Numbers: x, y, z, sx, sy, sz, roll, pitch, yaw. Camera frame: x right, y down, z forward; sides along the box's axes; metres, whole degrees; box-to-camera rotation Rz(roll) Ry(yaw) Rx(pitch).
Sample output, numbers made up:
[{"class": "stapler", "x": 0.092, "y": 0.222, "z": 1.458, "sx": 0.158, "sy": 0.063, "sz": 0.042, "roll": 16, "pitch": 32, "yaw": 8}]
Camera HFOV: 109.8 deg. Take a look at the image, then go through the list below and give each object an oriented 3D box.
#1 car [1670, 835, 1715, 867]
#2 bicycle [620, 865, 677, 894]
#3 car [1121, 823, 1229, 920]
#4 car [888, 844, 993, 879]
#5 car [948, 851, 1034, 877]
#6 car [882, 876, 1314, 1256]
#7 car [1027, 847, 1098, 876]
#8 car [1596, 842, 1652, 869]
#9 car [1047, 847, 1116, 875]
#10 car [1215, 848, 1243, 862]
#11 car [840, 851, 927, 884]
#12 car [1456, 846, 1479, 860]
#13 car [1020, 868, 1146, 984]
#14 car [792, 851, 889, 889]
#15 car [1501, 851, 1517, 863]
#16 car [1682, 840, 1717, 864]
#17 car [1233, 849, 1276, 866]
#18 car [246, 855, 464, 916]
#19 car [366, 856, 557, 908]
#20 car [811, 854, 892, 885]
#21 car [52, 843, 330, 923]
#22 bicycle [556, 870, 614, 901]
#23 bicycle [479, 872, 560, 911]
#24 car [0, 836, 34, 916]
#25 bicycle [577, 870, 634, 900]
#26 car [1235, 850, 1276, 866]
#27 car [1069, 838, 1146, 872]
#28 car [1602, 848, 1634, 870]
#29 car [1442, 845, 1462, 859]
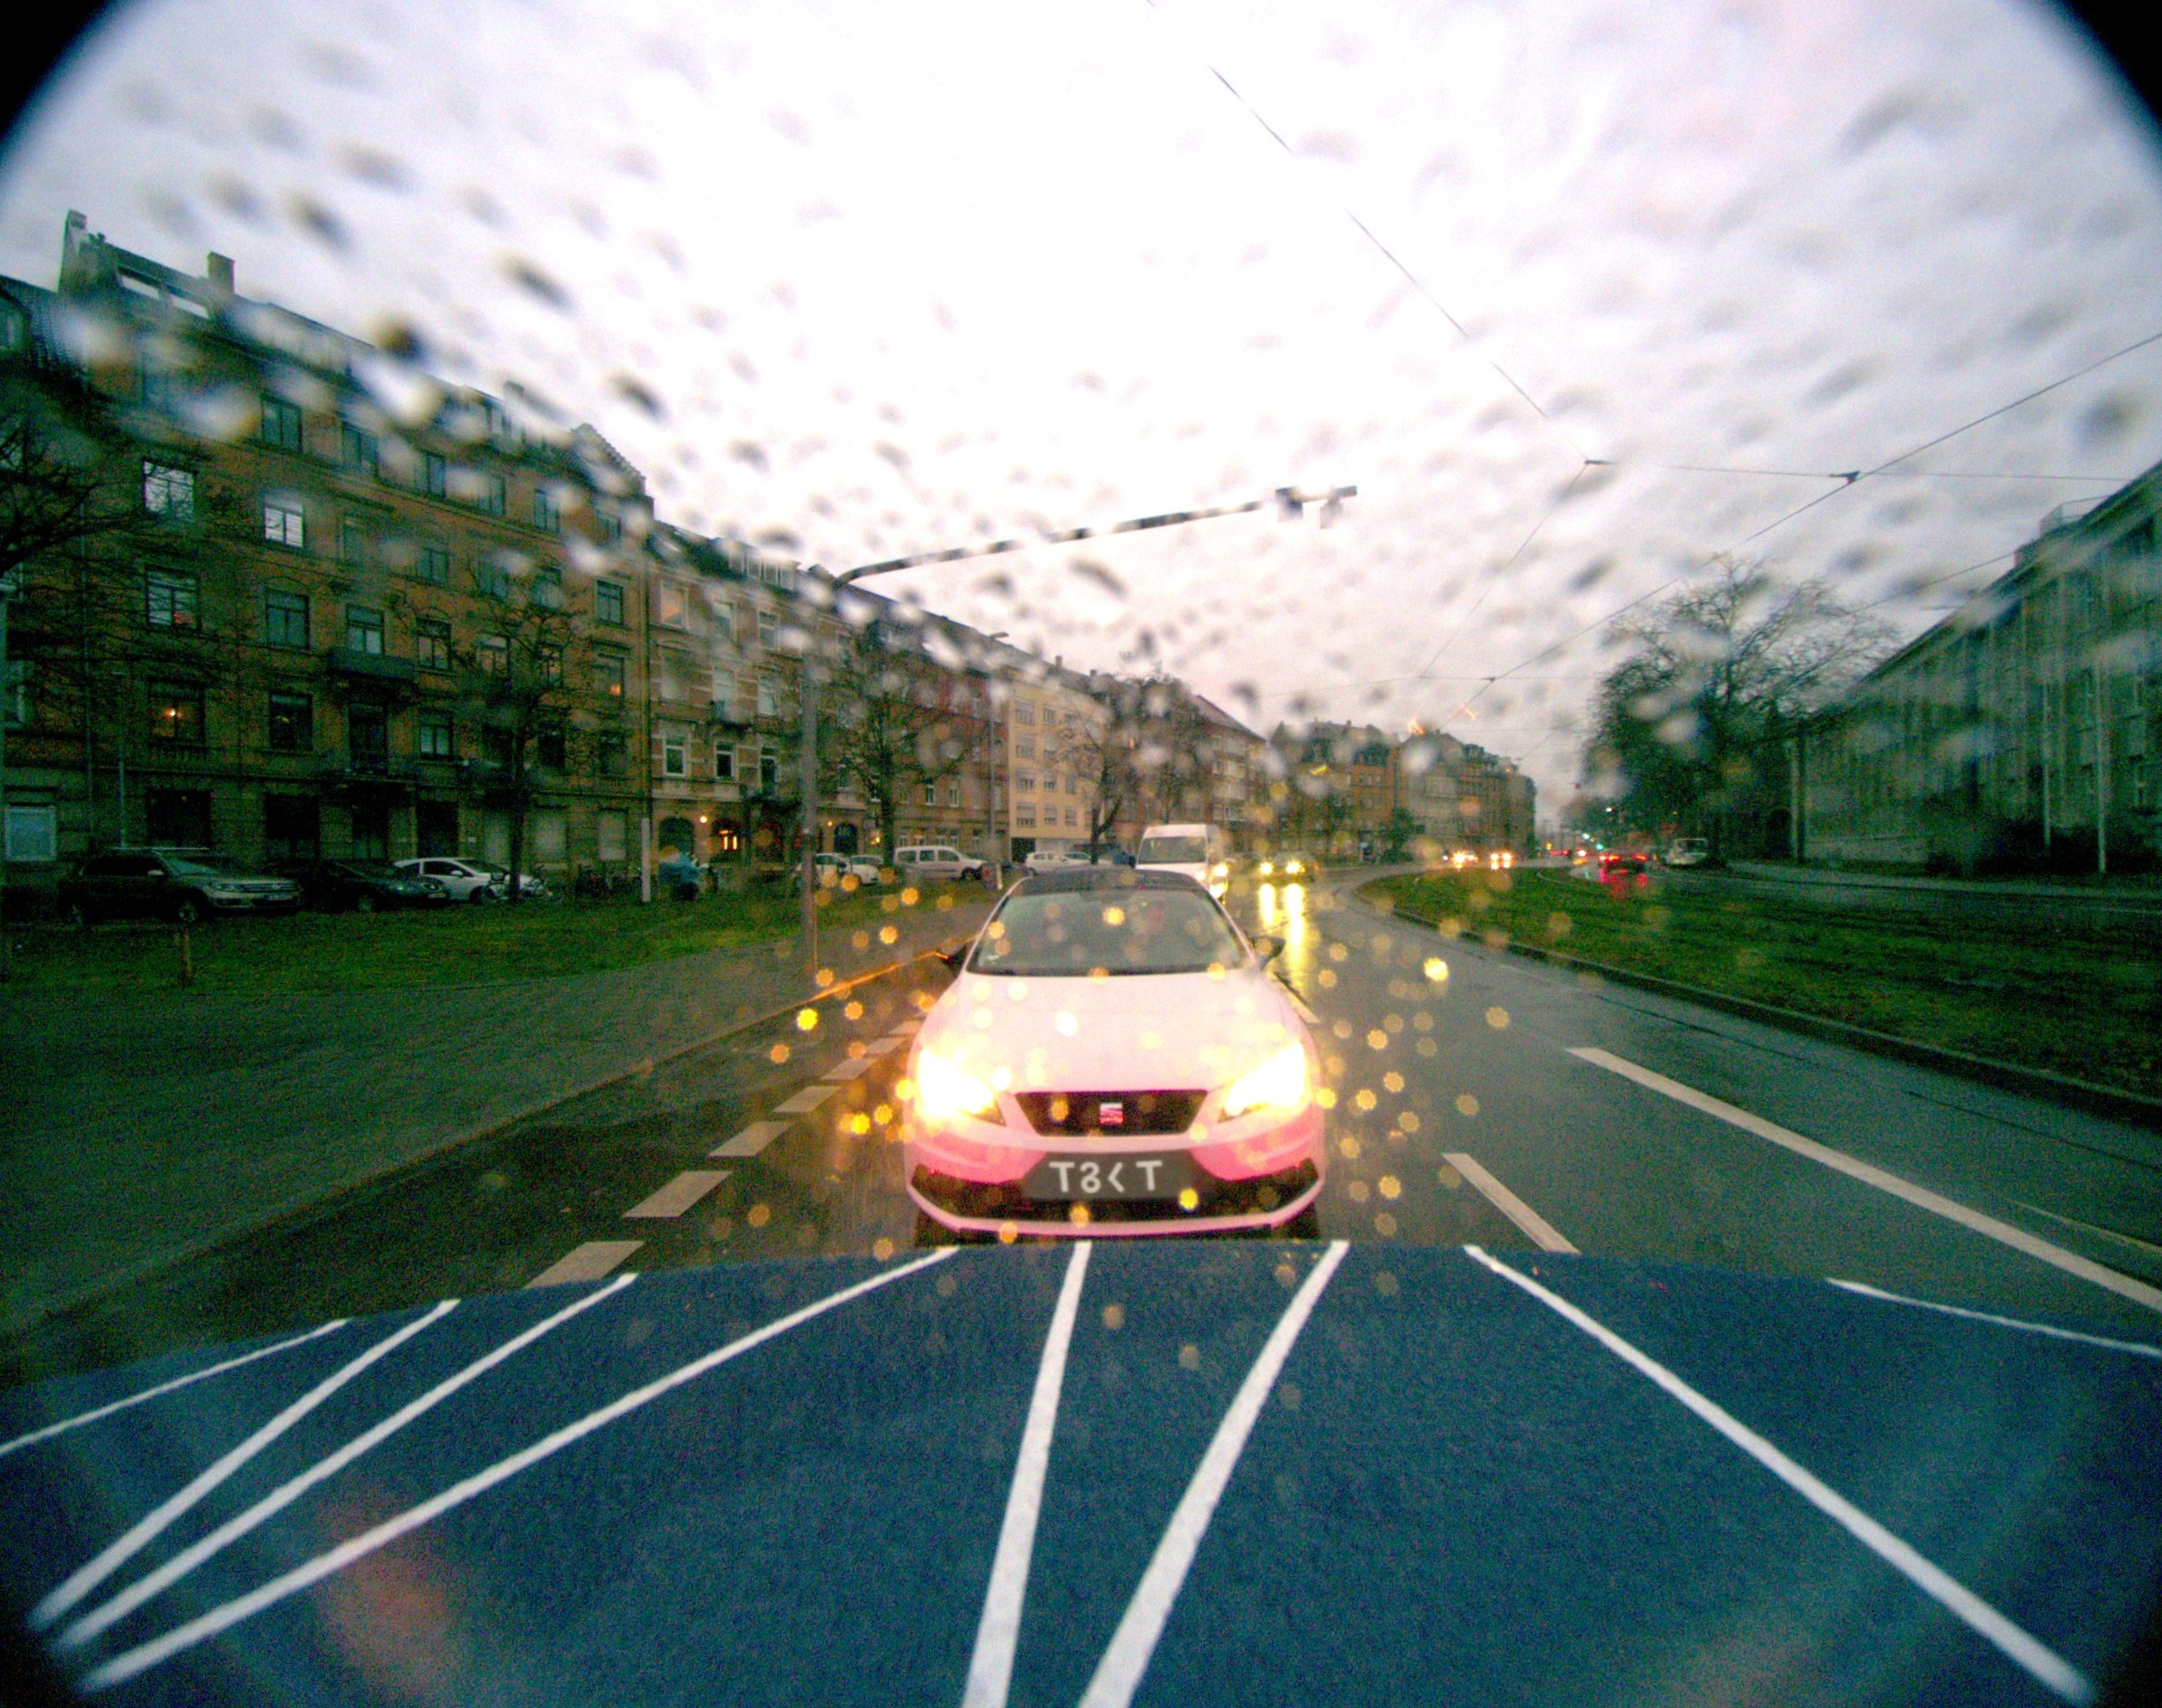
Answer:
[{"class": "car", "x": 41.969, "y": -0.218, "z": 52.237, "sx": 1.995, "sy": 2.002, "sz": 4.518, "roll": -3, "pitch": 0, "yaw": 35}, {"class": "bicycle", "x": -15.031, "y": 0.872, "z": 26.391, "sx": 2.165, "sy": 0.960, "sz": 0.627, "roll": 0, "pitch": 1, "yaw": 28}, {"class": "car", "x": 2.847, "y": 0.430, "z": 21.647, "sx": 2.127, "sy": 2.366, "sz": 5.645, "roll": -2, "pitch": 0, "yaw": 16}, {"class": "car", "x": -6.708, "y": 0.324, "z": 36.544, "sx": 4.659, "sy": 1.583, "sz": 1.778, "roll": 1, "pitch": 1, "yaw": 3}, {"class": "car", "x": -4.555, "y": 0.506, "z": 38.712, "sx": 4.058, "sy": 1.227, "sz": 1.771, "roll": 1, "pitch": 0, "yaw": 6}, {"class": "car", "x": 0.176, "y": 0.943, "z": 4.975, "sx": 1.714, "sy": 1.404, "sz": 3.680, "roll": -3, "pitch": 0, "yaw": 4}, {"class": "car", "x": -1.034, "y": 0.421, "z": 43.730, "sx": 3.770, "sy": 1.424, "sz": 1.762, "roll": -3, "pitch": 0, "yaw": 9}, {"class": "car", "x": 31.214, "y": 0.040, "z": 43.815, "sx": 1.658, "sy": 1.392, "sz": 4.530, "roll": -3, "pitch": 0, "yaw": 24}, {"class": "car", "x": -0.002, "y": 0.404, "z": 45.802, "sx": 3.998, "sy": 1.406, "sz": 1.641, "roll": -3, "pitch": 0, "yaw": -2}, {"class": "car", "x": 16.077, "y": 0.112, "z": 82.390, "sx": 1.470, "sy": 1.534, "sz": 3.880, "roll": 0, "pitch": 1, "yaw": 38}, {"class": "car", "x": -8.826, "y": 0.610, "z": 34.176, "sx": 3.430, "sy": 1.343, "sz": 1.664, "roll": -2, "pitch": 0, "yaw": 2}, {"class": "car", "x": 40.466, "y": -0.110, "z": 79.552, "sx": 1.892, "sy": 1.405, "sz": 3.954, "roll": -1, "pitch": 0, "yaw": 31}, {"class": "car", "x": 0.135, "y": 0.952, "z": 11.258, "sx": 1.589, "sy": 1.418, "sz": 3.135, "roll": -1, "pitch": 0, "yaw": 4}, {"class": "car", "x": -10.004, "y": 0.654, "z": 31.719, "sx": 3.462, "sy": 1.435, "sz": 1.615, "roll": -2, "pitch": 0, "yaw": 6}, {"class": "car", "x": 57.642, "y": 0.411, "z": 102.426, "sx": 1.836, "sy": 1.477, "sz": 3.528, "roll": -1, "pitch": 0, "yaw": 28}, {"class": "car", "x": 39.362, "y": -0.155, "z": 48.419, "sx": 1.557, "sy": 1.420, "sz": 2.960, "roll": -1, "pitch": 1, "yaw": 36}, {"class": "car", "x": 15.808, "y": 0.296, "z": 69.366, "sx": 3.760, "sy": 1.346, "sz": 1.603, "roll": -3, "pitch": 0, "yaw": 11}, {"class": "car", "x": -17.945, "y": 0.764, "z": 18.921, "sx": 3.742, "sy": 1.346, "sz": 1.677, "roll": -2, "pitch": -1, "yaw": -2}, {"class": "car", "x": -17.141, "y": 0.741, "z": 21.153, "sx": 3.856, "sy": 1.329, "sz": 1.698, "roll": -1, "pitch": 0, "yaw": -1}, {"class": "car", "x": -12.635, "y": 0.838, "z": 41.988, "sx": 1.733, "sy": 1.492, "sz": 4.058, "roll": -3, "pitch": -1, "yaw": 32}, {"class": "car", "x": -19.526, "y": 0.586, "z": 16.803, "sx": 3.996, "sy": 1.627, "sz": 1.944, "roll": 0, "pitch": 1, "yaw": 4}, {"class": "bicycle", "x": -16.202, "y": 1.040, "z": 24.810, "sx": 2.165, "sy": 0.960, "sz": 0.627, "roll": -2, "pitch": -2, "yaw": 28}, {"class": "bicycle", "x": -14.425, "y": 0.942, "z": 19.564, "sx": 1.655, "sy": 0.931, "sz": 0.513, "roll": 0, "pitch": 0, "yaw": -35}, {"class": "car", "x": -29.124, "y": 0.572, "z": 17.977, "sx": 1.994, "sy": 2.002, "sz": 4.997, "roll": 1, "pitch": 1, "yaw": 34}, {"class": "bicycle", "x": -15.881, "y": 1.050, "z": 25.378, "sx": 2.165, "sy": 0.960, "sz": 0.627, "roll": -2, "pitch": -2, "yaw": 28}, {"class": "car", "x": 16.717, "y": 0.399, "z": 72.927, "sx": 3.760, "sy": 1.346, "sz": 1.603, "roll": -3, "pitch": 0, "yaw": 11}, {"class": "car", "x": 1.666, "y": 0.070, "z": 48.489, "sx": 4.720, "sy": 1.971, "sz": 1.799, "roll": -2, "pitch": 0, "yaw": -2}, {"class": "car", "x": 40.415, "y": 0.335, "z": 57.263, "sx": 1.822, "sy": 1.426, "sz": 4.664, "roll": -3, "pitch": 0, "yaw": 34}, {"class": "car", "x": 44.892, "y": -0.283, "z": 91.814, "sx": 1.719, "sy": 1.608, "sz": 3.946, "roll": -1, "pitch": 0, "yaw": 32}]
